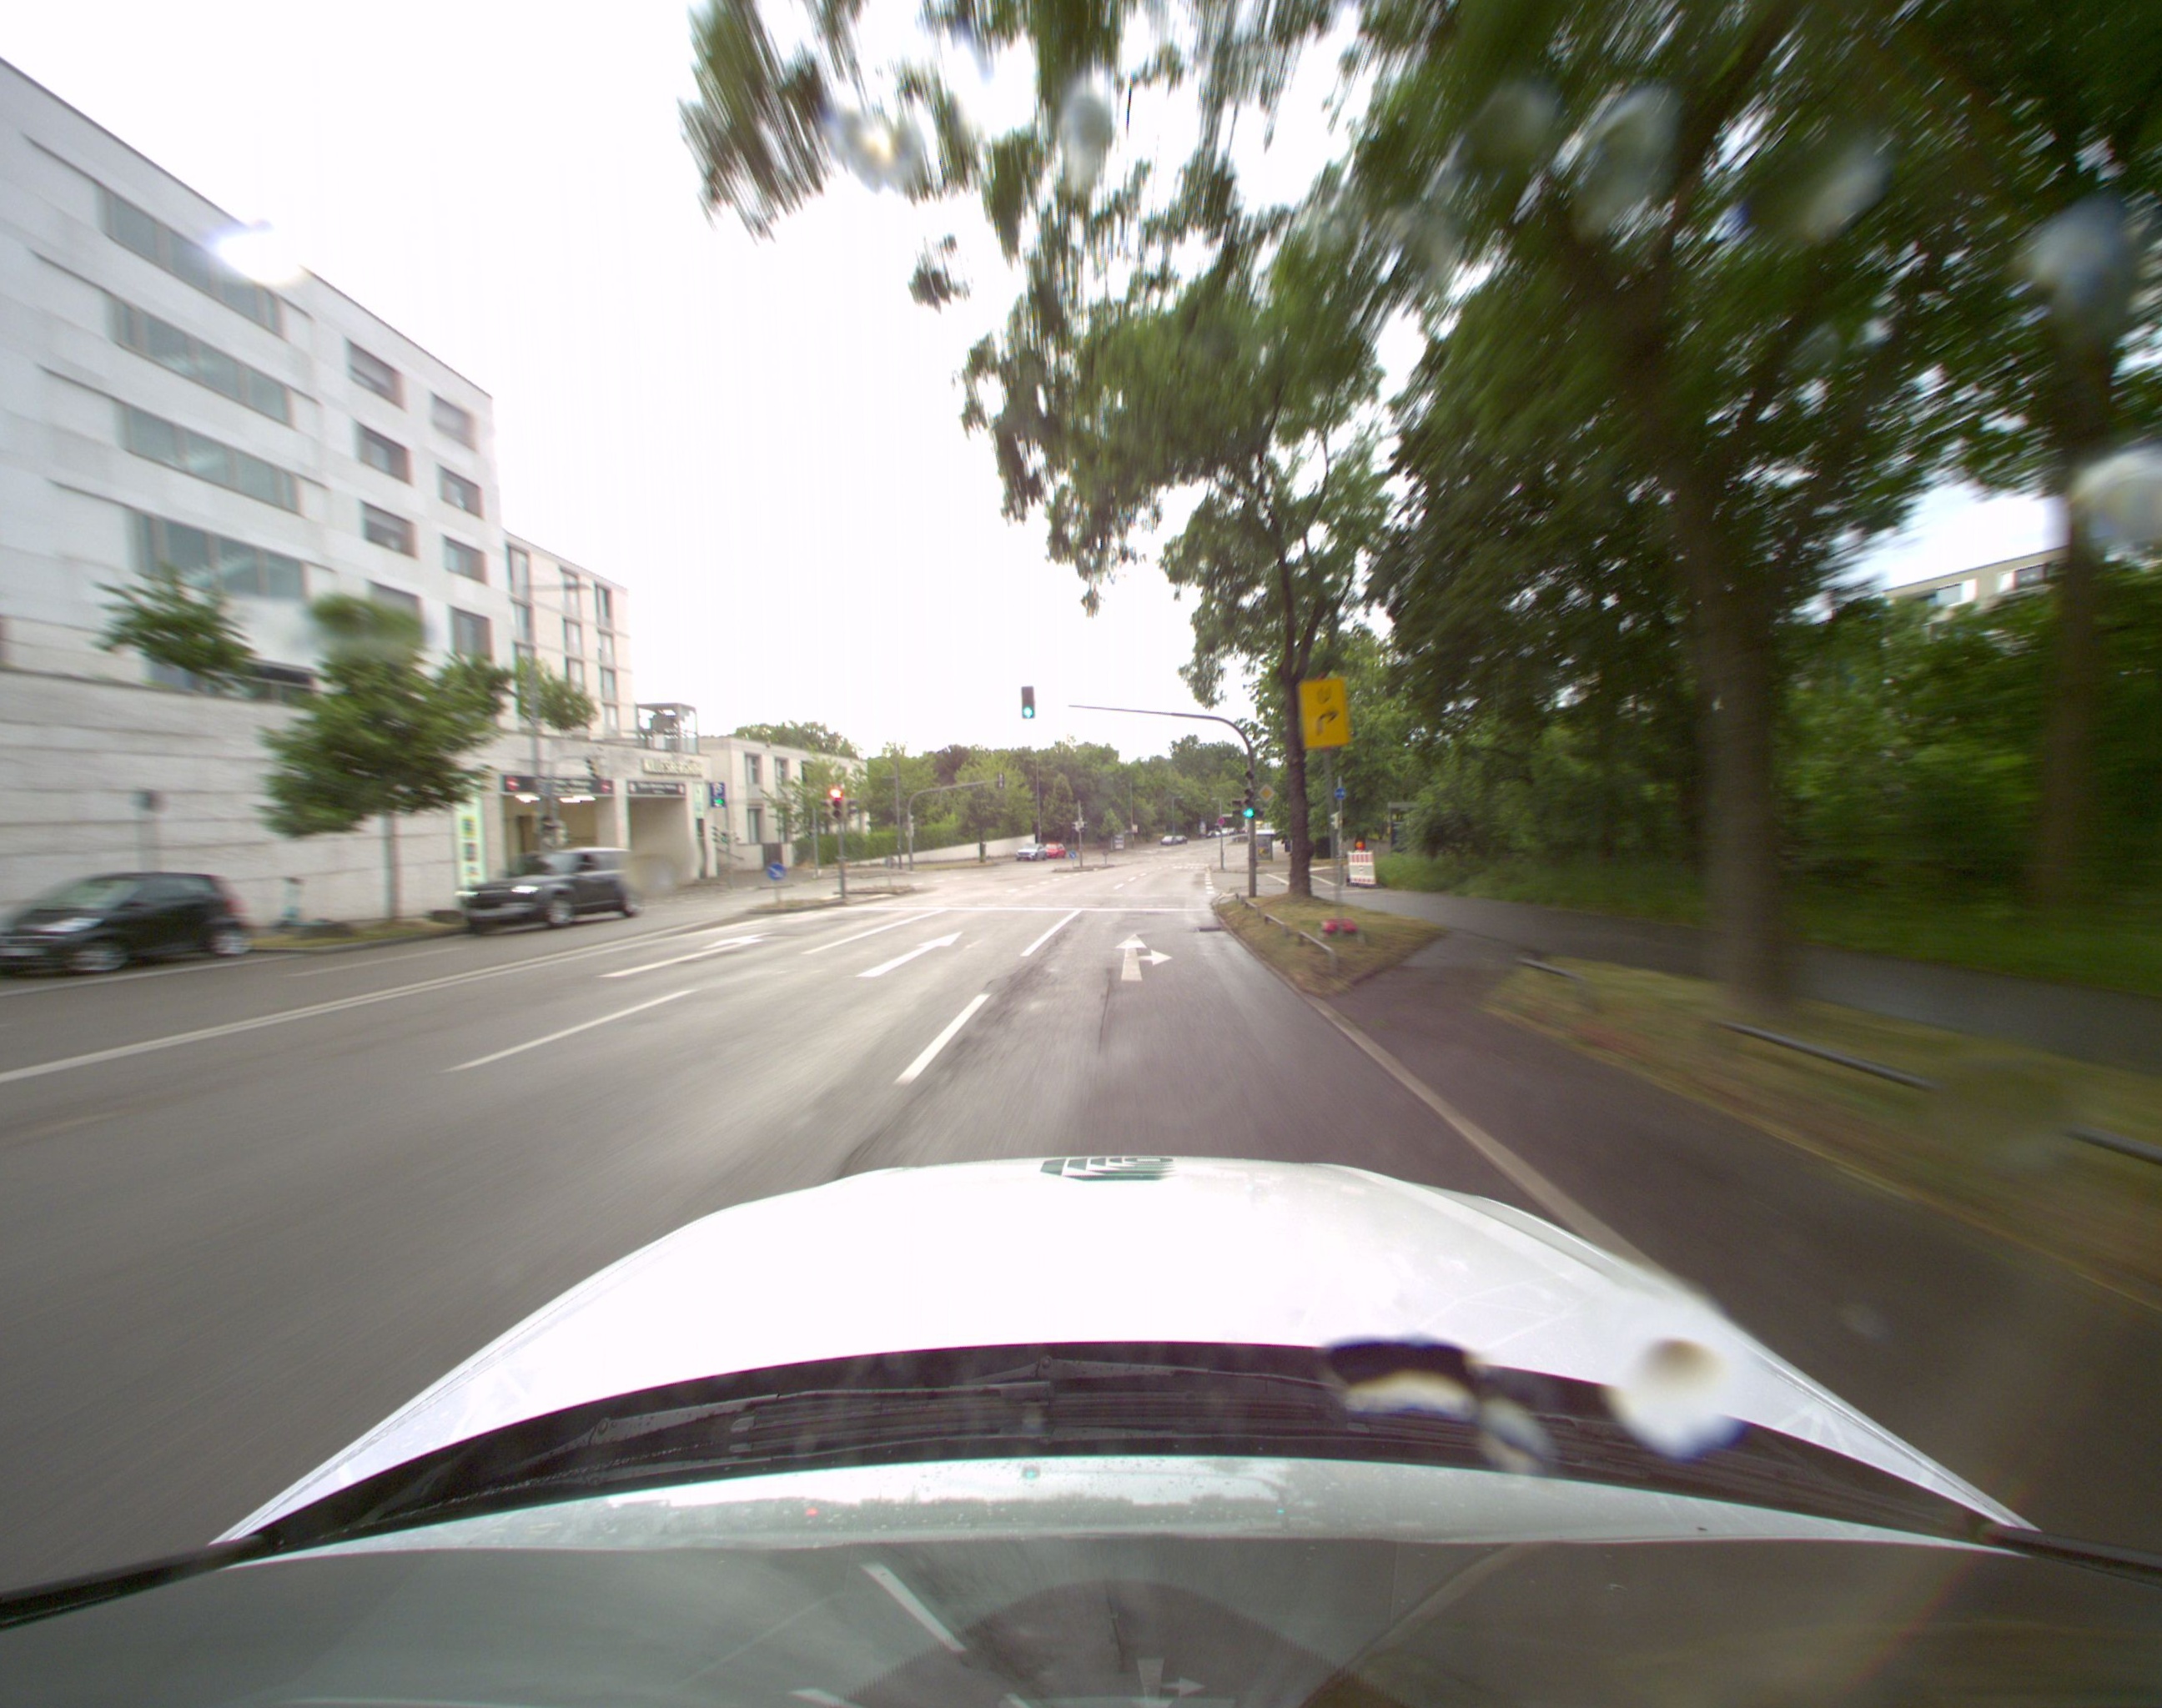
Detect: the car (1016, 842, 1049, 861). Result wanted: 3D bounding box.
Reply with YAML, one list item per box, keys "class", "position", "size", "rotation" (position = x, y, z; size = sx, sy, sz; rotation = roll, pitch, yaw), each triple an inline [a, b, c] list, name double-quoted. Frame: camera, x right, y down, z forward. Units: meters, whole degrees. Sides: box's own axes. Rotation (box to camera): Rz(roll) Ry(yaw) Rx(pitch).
- class: "car"
  position: [-4.607, -0.236, 77.763]
  size: [1.839, 1.639, 4.112]
  rotation: [2, 2, 17]

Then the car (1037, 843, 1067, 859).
- class: "car"
  position: [-2.991, -0.326, 84.574]
  size: [1.861, 1.575, 4.240]
  rotation: [1, 1, 15]

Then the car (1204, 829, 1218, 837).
- class: "car"
  position: [27.114, -4.426, 170.290]
  size: [1.939, 1.485, 4.024]
  rotation: [2, 5, 23]

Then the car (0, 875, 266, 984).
- class: "car"
  position: [-15.883, 1.161, 13.599]
  size: [1.503, 1.515, 2.980]
  rotation: [-1, 0, 1]

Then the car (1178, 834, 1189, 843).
- class: "car"
  position: [17.997, -2.680, 142.734]
  size: [1.405, 1.424, 3.137]
  rotation: [-1, 0, 18]

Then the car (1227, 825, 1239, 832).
- class: "car"
  position: [34.911, -5.811, 187.300]
  size: [1.939, 1.485, 4.024]
  rotation: [2, 5, 23]

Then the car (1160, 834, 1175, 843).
- class: "car"
  position: [14.617, -2.570, 137.124]
  size: [1.699, 1.460, 3.768]
  rotation: [0, 0, 19]

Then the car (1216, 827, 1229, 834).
- class: "car"
  position: [31.196, -5.177, 179.522]
  size: [1.939, 1.485, 4.024]
  rotation: [2, 5, 23]

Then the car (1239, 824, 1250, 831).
- class: "car"
  position: [39.864, -6.412, 198.801]
  size: [1.939, 1.485, 4.024]
  rotation: [2, 5, 23]

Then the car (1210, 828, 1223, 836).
- class: "car"
  position: [29.054, -4.800, 174.885]
  size: [1.843, 1.485, 4.024]
  rotation: [2, 5, 23]

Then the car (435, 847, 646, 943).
- class: "car"
  position: [-12.707, 0.854, 19.603]
  size: [1.915, 1.857, 4.505]
  rotation: [-5, 1, 0]

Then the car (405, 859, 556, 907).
- class: "car"
  position: [-23.991, 1.118, 32.664]
  size: [4.489, 1.672, 1.927]
  rotation: [-2, 0, -2]
